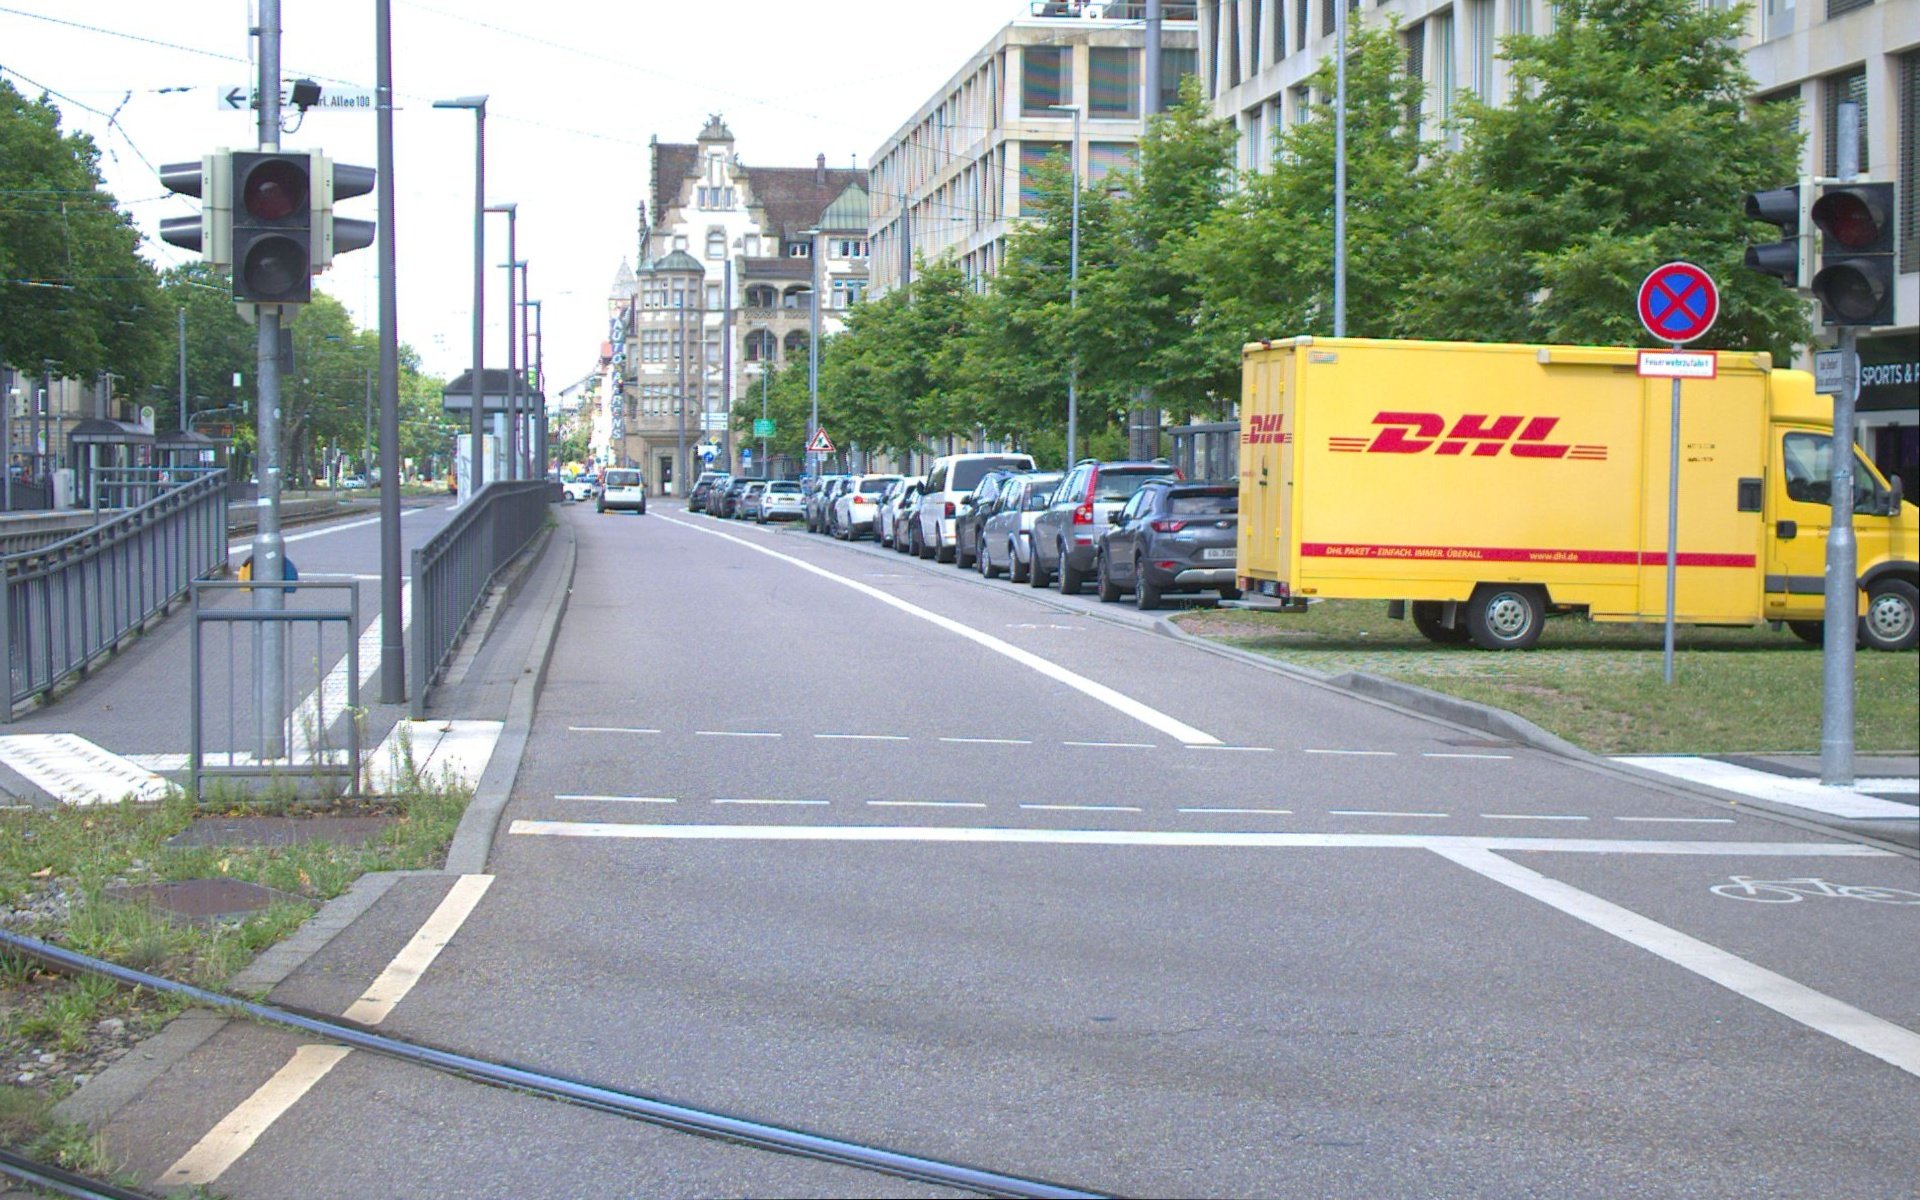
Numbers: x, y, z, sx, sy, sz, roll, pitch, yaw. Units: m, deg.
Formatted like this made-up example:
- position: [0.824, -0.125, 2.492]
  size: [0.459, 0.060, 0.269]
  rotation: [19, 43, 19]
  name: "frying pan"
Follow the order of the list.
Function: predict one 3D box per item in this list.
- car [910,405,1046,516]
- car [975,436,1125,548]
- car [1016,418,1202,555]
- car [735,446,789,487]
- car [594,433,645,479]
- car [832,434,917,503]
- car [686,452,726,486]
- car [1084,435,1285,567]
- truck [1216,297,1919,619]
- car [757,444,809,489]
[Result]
- position: [0.277, -2.556, 63.043]
  size: [1.881, 1.932, 4.845]
  rotation: [-1, 2, -7]
  name: "car"
- position: [1.311, -1.638, 51.870]
  size: [1.720, 1.614, 3.861]
  rotation: [0, 2, -7]
  name: "car"
- position: [1.961, -1.551, 46.753]
  size: [1.768, 1.761, 4.841]
  rotation: [0, 2, -7]
  name: "car"
- position: [-7.318, -4.933, 126.912]
  size: [1.591, 1.429, 4.108]
  rotation: [2, 2, -9]
  name: "car"
- position: [-13.515, -5.697, 136.182]
  size: [1.868, 1.740, 4.001]
  rotation: [1, 2, -7]
  name: "car"
- position: [-2.109, -3.211, 83.778]
  size: [1.685, 1.600, 4.153]
  rotation: [-1, 2, -7]
  name: "car"
- position: [-11.380, -5.882, 153.864]
  size: [1.442, 1.465, 4.094]
  rotation: [-2, 2, -8]
  name: "car"
- position: [2.640, -1.206, 41.320]
  size: [1.691, 1.499, 4.069]
  rotation: [0, 2, -7]
  name: "car"
- position: [6.007, -1.305, 32.179]
  size: [6.804, 2.857, 2.455]
  rotation: [0, 2, -9]
  name: "truck"
- position: [-5.996, -4.518, 116.208]
  size: [1.591, 1.455, 3.614]
  rotation: [1, 2, -6]
  name: "car"
